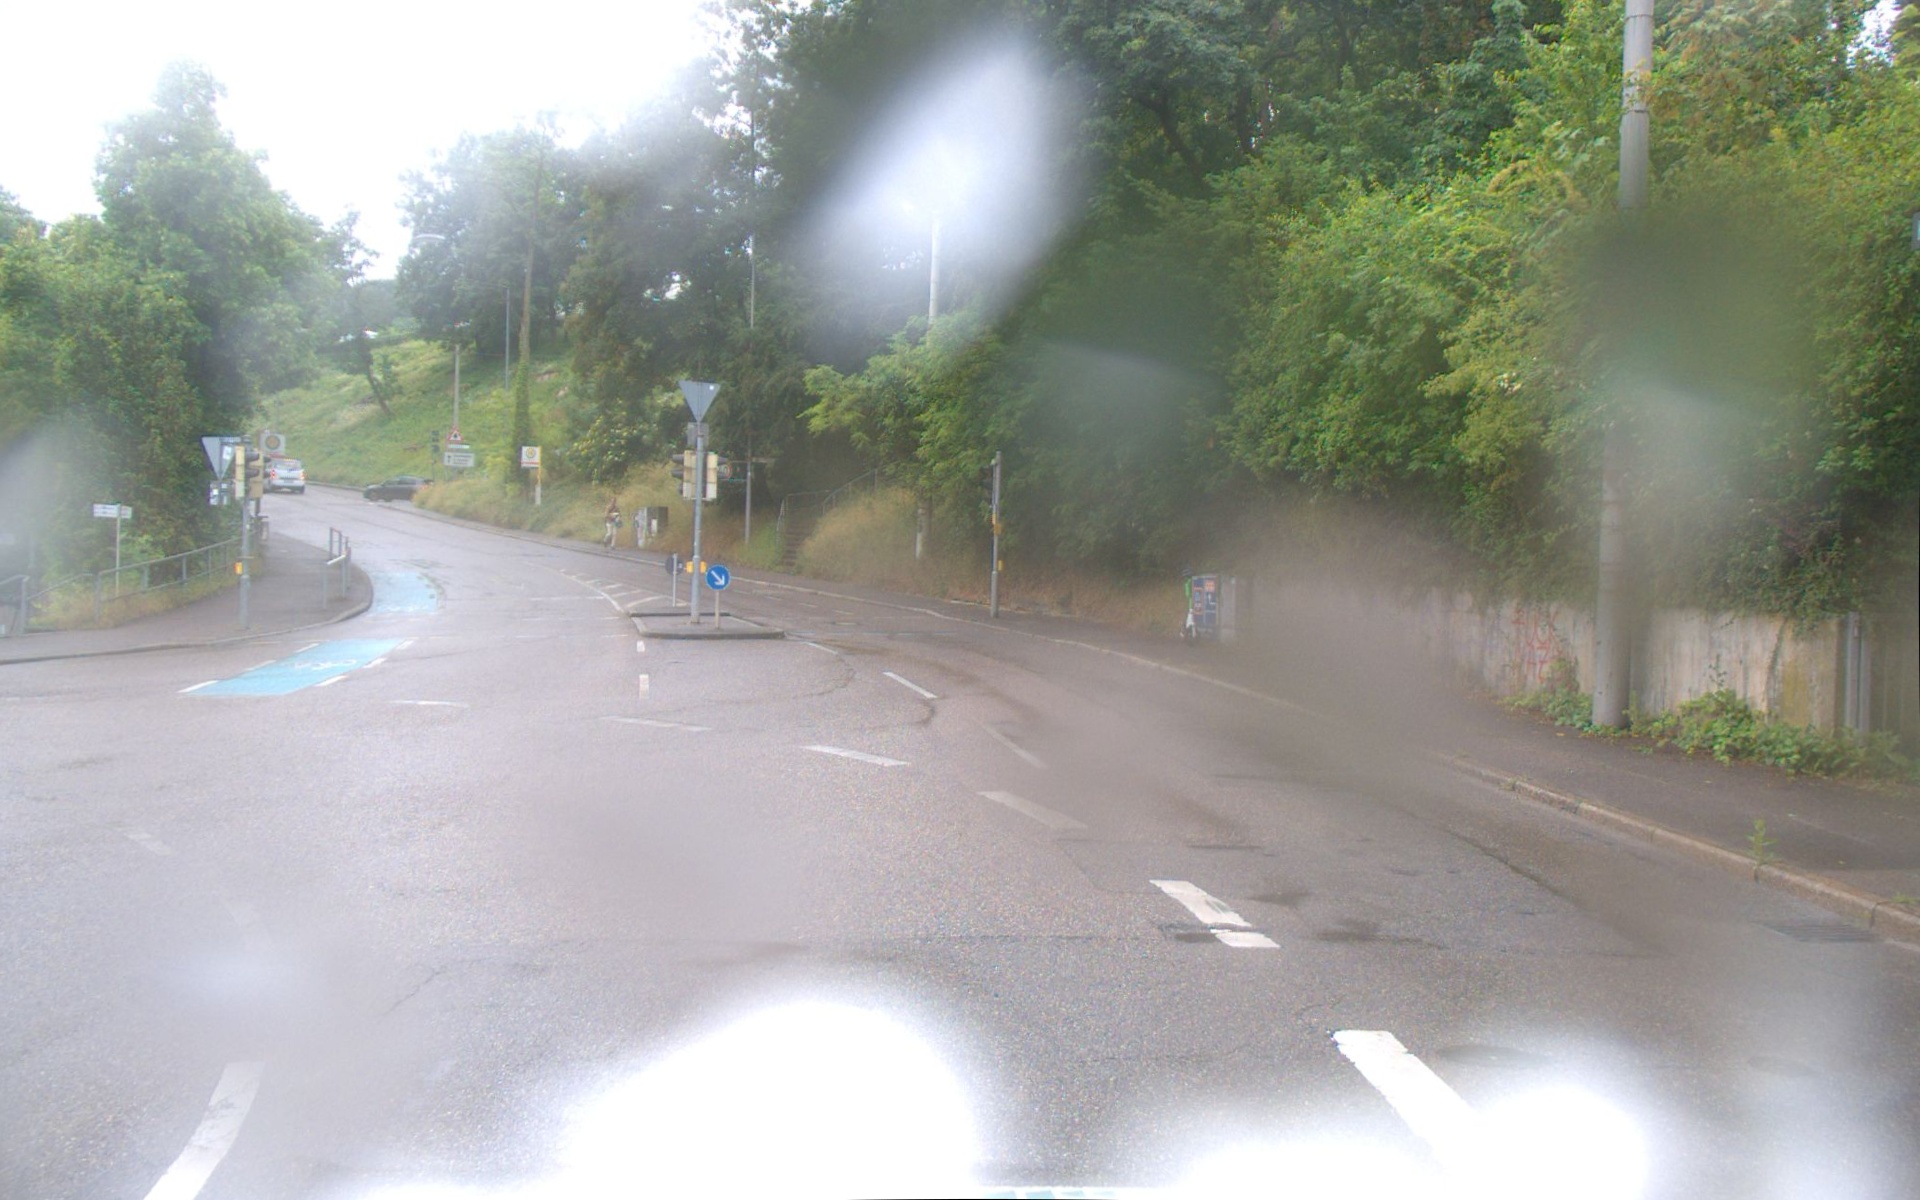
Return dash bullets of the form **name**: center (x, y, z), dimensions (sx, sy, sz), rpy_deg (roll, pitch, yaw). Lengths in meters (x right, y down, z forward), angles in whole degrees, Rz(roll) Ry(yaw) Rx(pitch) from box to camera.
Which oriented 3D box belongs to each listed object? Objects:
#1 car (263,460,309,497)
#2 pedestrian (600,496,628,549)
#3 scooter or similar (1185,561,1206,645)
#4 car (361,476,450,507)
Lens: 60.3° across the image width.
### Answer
- **car**: center (-41.044, -7.370, 100.648), dimensions (2.043, 2.041, 4.768), rpy_deg (0, 1, -29)
- **pedestrian**: center (-12.145, -2.714, 57.986), dimensions (0.867, 1.767, 0.861), rpy_deg (1, -1, -18)
- **scooter or similar**: center (3.777, 0.035, 26.532), dimensions (0.315, 1.302, 0.752), rpy_deg (0, 3, 7)
- **car**: center (-31.303, -6.133, 93.421), dimensions (4.296, 1.538, 1.965), rpy_deg (3, 3, 8)
